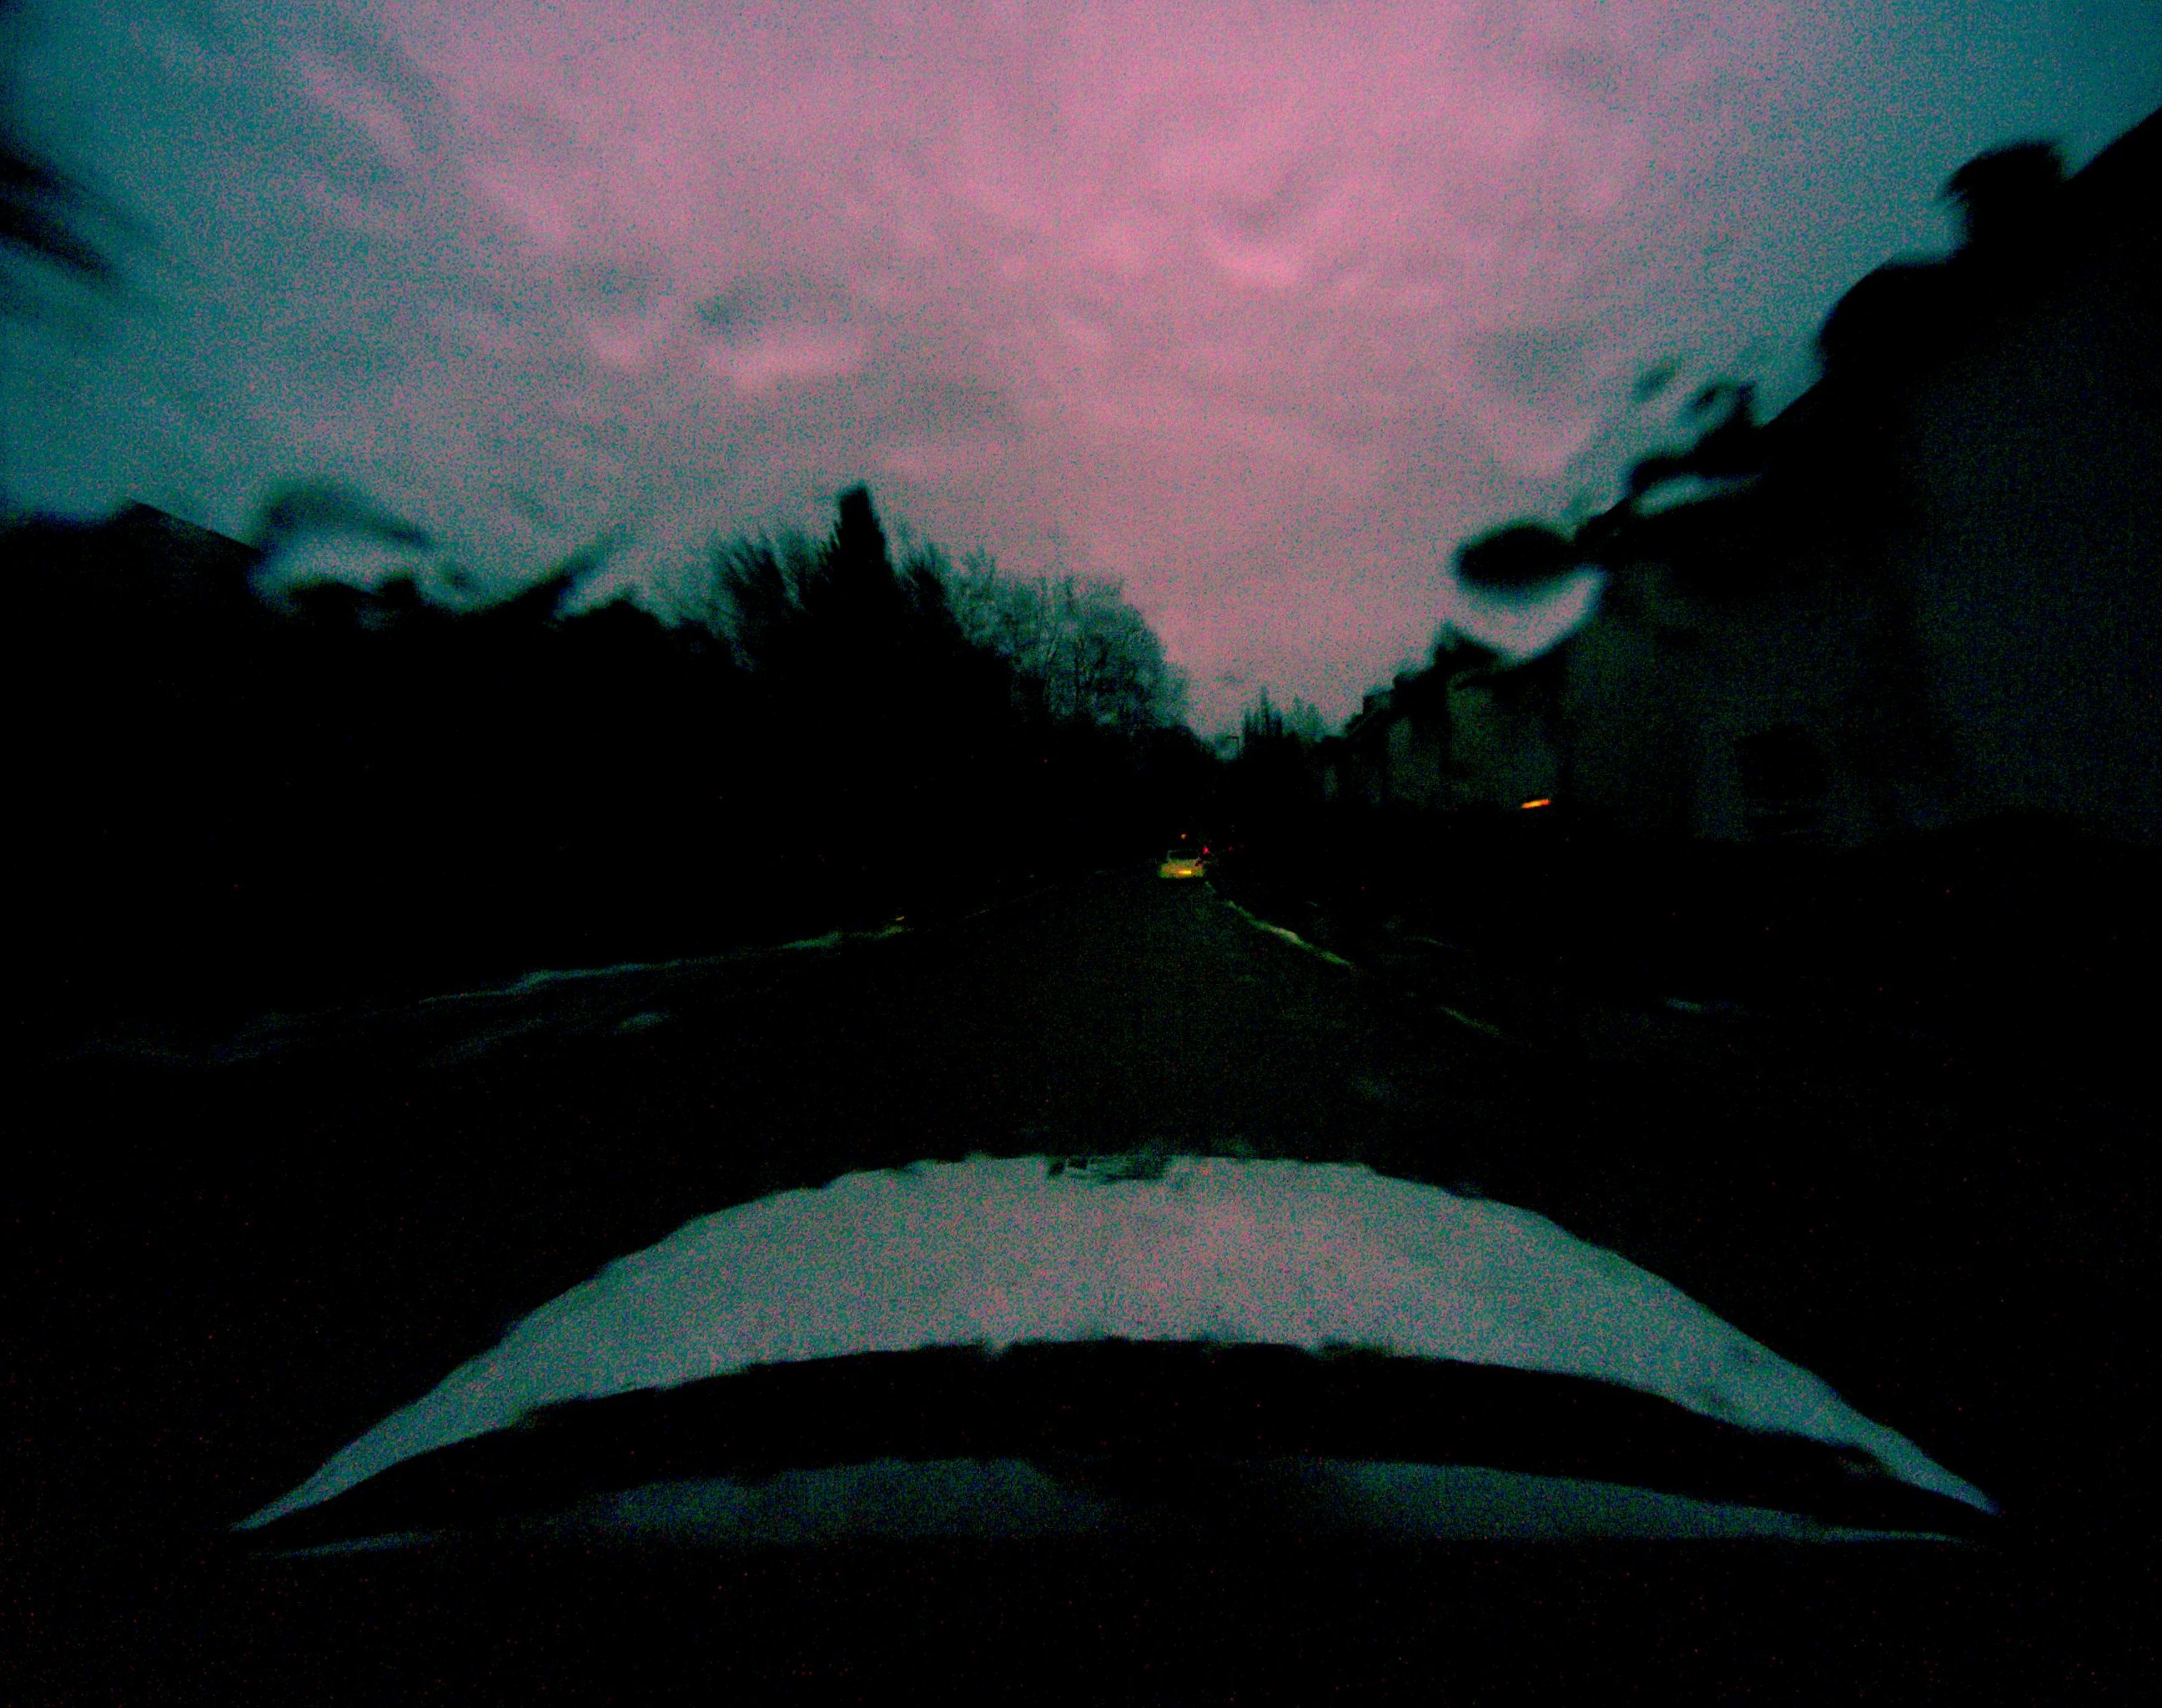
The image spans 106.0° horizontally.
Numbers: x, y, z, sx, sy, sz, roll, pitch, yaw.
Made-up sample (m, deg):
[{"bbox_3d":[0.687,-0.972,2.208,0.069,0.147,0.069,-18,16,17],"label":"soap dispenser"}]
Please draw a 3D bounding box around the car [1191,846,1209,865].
[{"bbox_3d":[11.998,0.141,81.906,1.679,1.774,3.871,-2,1,10],"label":"car"}]

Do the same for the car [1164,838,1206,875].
[{"bbox_3d":[4.533,0.086,35.756,1.695,1.506,4.031,-1,0,6],"label":"car"}]
